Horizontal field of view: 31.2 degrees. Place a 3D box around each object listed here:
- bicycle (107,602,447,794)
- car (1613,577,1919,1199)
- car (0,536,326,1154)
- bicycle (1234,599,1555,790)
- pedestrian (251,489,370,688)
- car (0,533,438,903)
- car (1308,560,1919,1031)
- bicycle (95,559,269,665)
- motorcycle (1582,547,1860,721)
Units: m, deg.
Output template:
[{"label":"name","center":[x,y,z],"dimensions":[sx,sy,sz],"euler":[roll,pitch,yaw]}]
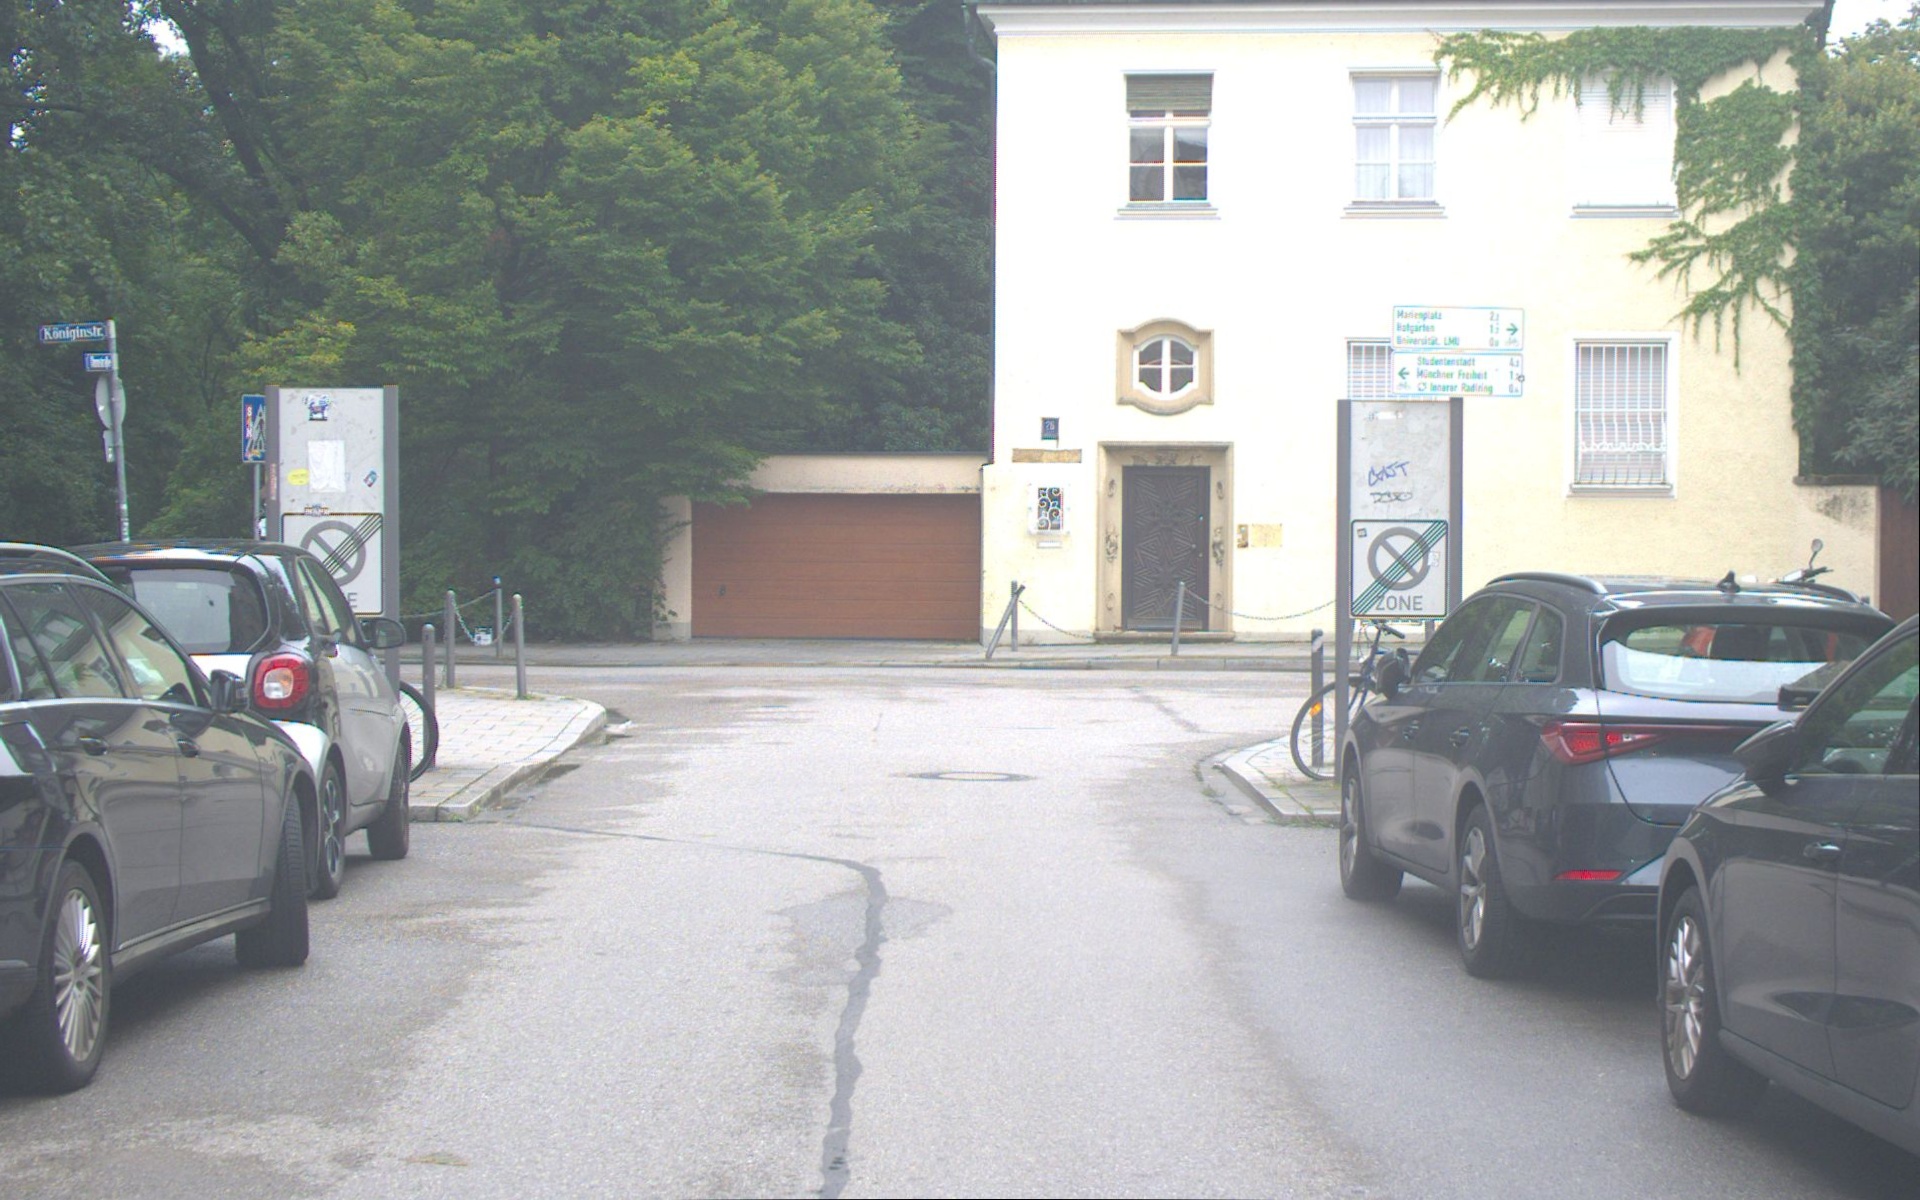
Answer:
[{"label":"bicycle","center":[-3.862,0.552,19.510],"dimensions":[1.802,1.011,0.540],"euler":[2,1,-2]},{"label":"car","center":[2.735,0.718,7.944],"dimensions":[1.634,1.466,3.855],"euler":[1,1,-1]},{"label":"car","center":[-3.250,0.569,10.497],"dimensions":[1.755,1.510,4.708],"euler":[0,1,0]},{"label":"bicycle","center":[2.625,0.551,20.794],"dimensions":[1.794,1.082,0.665],"euler":[0,2,26]},{"label":"pedestrian","center":[-5.421,-0.097,28.685],"dimensions":[0.810,1.636,0.726],"euler":[1,1,-24]},{"label":"car","center":[-3.450,0.460,15.636],"dimensions":[1.704,1.510,2.911],"euler":[0,1,0]},{"label":"car","center":[2.562,0.612,13.408],"dimensions":[1.692,1.466,4.612],"euler":[1,1,-3]},{"label":"bicycle","center":[-7.899,0.111,34.849],"dimensions":[2.006,1.006,0.511],"euler":[2,1,36]},{"label":"motorcycle","center":[6.114,0.266,27.618],"dimensions":[2.077,1.351,0.817],"euler":[1,1,-24]}]
